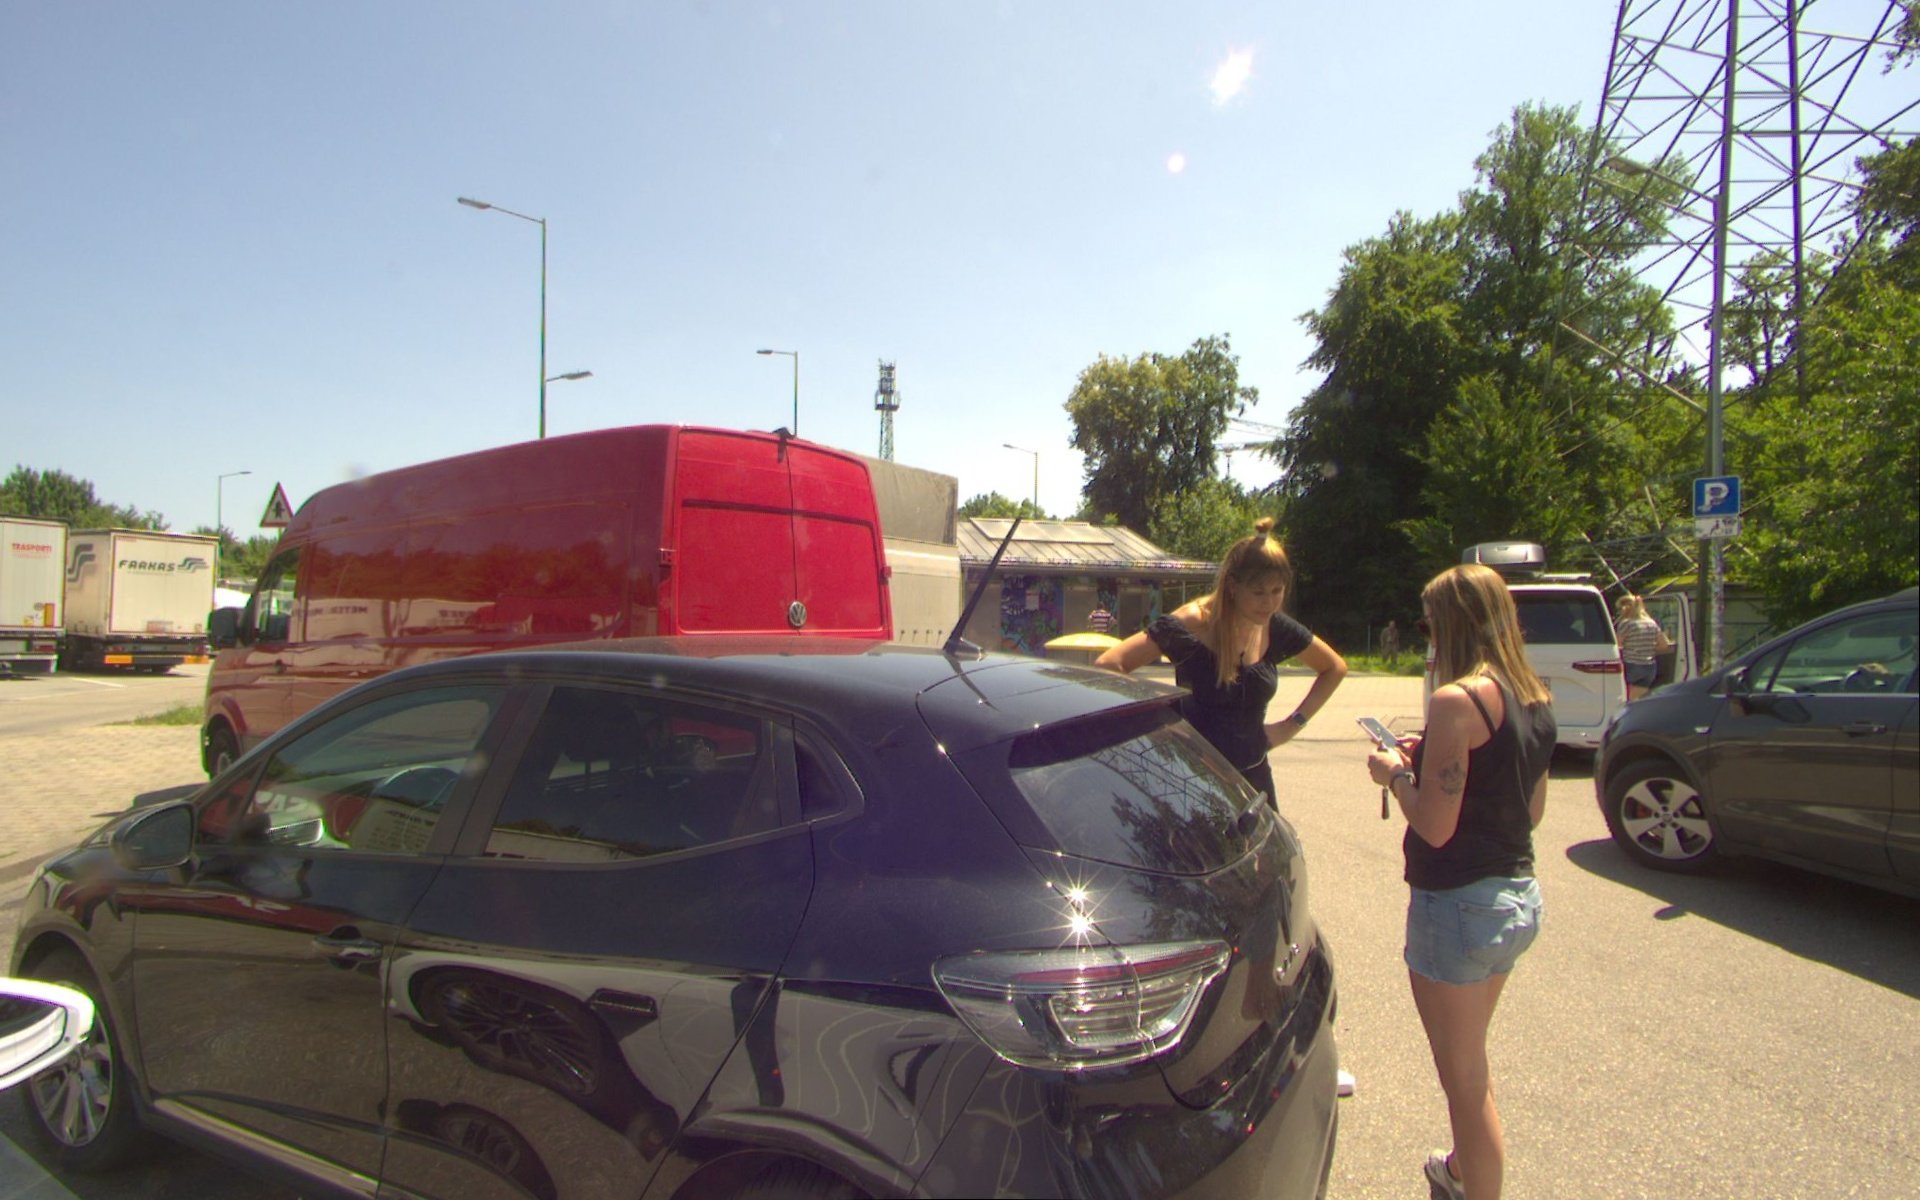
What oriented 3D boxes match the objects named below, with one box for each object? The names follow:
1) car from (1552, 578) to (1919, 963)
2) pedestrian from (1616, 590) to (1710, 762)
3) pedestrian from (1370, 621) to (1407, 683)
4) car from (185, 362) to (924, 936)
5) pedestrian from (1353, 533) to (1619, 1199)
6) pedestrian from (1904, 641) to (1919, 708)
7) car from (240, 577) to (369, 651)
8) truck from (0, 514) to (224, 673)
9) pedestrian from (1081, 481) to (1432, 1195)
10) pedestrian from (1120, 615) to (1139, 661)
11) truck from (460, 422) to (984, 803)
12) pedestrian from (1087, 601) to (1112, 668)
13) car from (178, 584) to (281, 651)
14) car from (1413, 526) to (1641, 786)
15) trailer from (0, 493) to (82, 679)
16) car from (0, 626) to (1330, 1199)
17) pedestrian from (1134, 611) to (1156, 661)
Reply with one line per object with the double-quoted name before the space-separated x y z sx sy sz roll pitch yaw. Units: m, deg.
"car" 4.967 0.745 4.671 1.803 1.638 4.168 1 -1 -3
"pedestrian" 8.172 0.863 11.677 0.828 1.903 0.773 -1 -1 32
"pedestrian" 14.246 1.717 33.309 0.955 2.039 0.829 0 -1 10
"car" -3.357 0.255 7.332 6.298 2.668 1.988 0 -1 36
"pedestrian" 1.192 0.682 2.293 0.478 1.615 0.501 0 0 29
"pedestrian" 17.134 1.299 17.468 0.694 1.178 0.787 -1 -1 22
"car" -29.456 0.603 44.937 6.259 3.114 2.495 0 -1 32
"truck" -27.079 -0.022 31.187 11.800 4.279 2.582 -1 -2 32
"pedestrian" 0.887 0.640 3.033 0.897 1.884 0.486 1 0 -21
"pedestrian" 5.063 1.119 29.915 0.439 1.362 0.477 0 0 23
"truck" -2.428 0.176 9.911 4.751 2.863 2.514 -1 -2 34
"pedestrian" 3.766 0.928 27.010 0.520 1.783 0.651 0 0 23
"car" -29.926 0.757 41.019 3.943 2.632 2.111 -1 -2 32
"car" 6.662 0.578 11.896 1.901 2.401 4.954 1 -1 29
"trailer" -28.583 -0.338 27.856 12.642 4.511 2.677 0 -1 32
"car" -0.953 0.832 2.861 3.627 1.476 1.777 -1 -2 26
"pedestrian" 5.515 1.073 29.860 0.521 1.478 0.576 0 0 23
